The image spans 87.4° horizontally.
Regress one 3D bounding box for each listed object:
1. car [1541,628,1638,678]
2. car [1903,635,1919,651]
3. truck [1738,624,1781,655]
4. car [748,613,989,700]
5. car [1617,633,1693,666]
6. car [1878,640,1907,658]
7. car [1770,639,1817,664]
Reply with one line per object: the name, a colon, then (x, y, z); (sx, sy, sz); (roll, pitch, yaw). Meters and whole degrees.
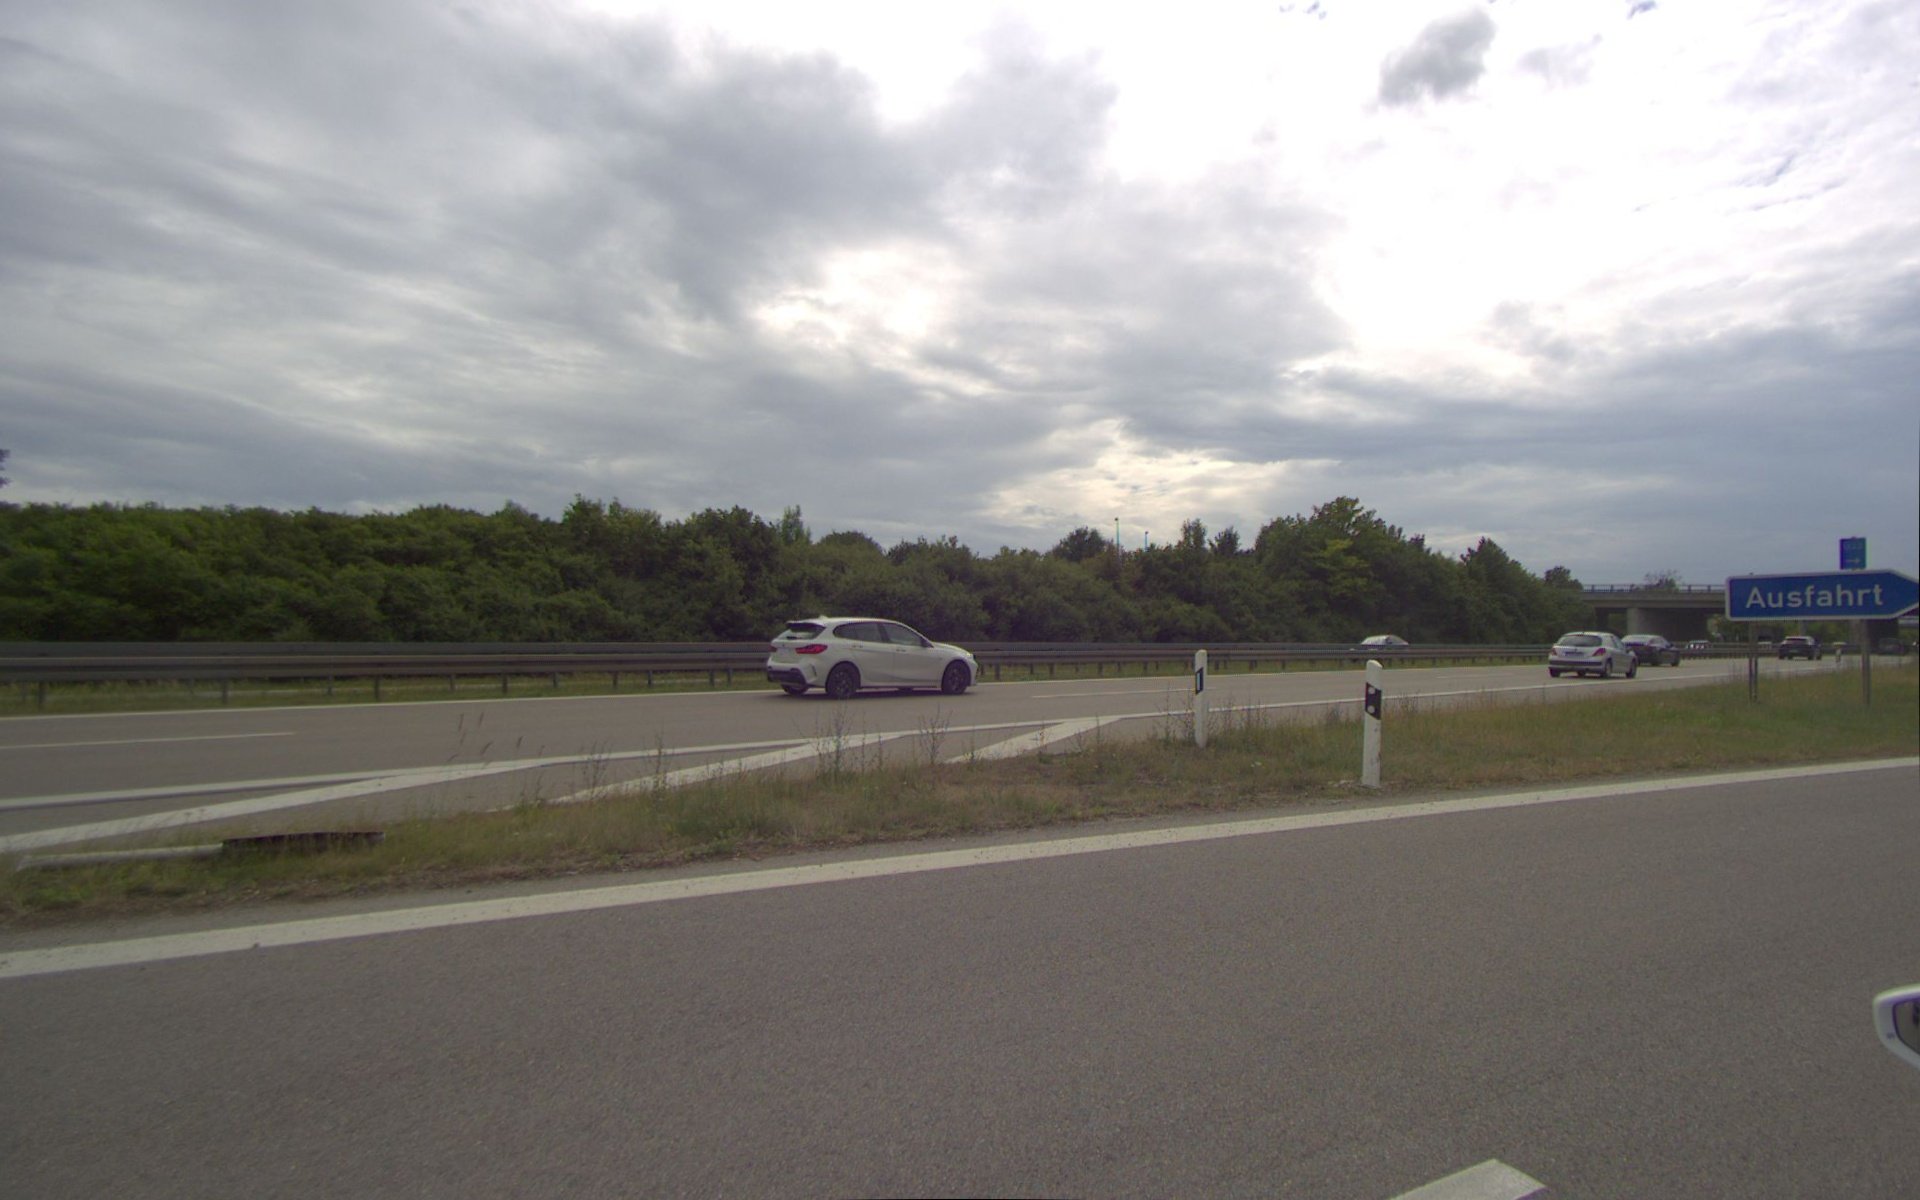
car: (20.873, 1.721, 33.251); (3.969, 1.539, 1.702); (2, -2, -41)
car: (111.852, 5.033, 117.386); (3.968, 1.834, 1.977); (2, -2, -41)
truck: (98.091, 4.859, 123.132); (8.134, 3.694, 2.735); (2, -2, -41)
car: (-1.657, 1.031, 19.148); (4.343, 1.472, 1.821); (2, -2, -40)
car: (33.871, 2.386, 48.924); (4.742, 1.529, 1.976); (2, -2, -41)
car: (96.288, 5.094, 103.716); (4.303, 1.782, 1.829); (2, -2, -42)
car: (61.425, 3.755, 73.997); (4.792, 1.766, 1.976); (2, -3, -41)
